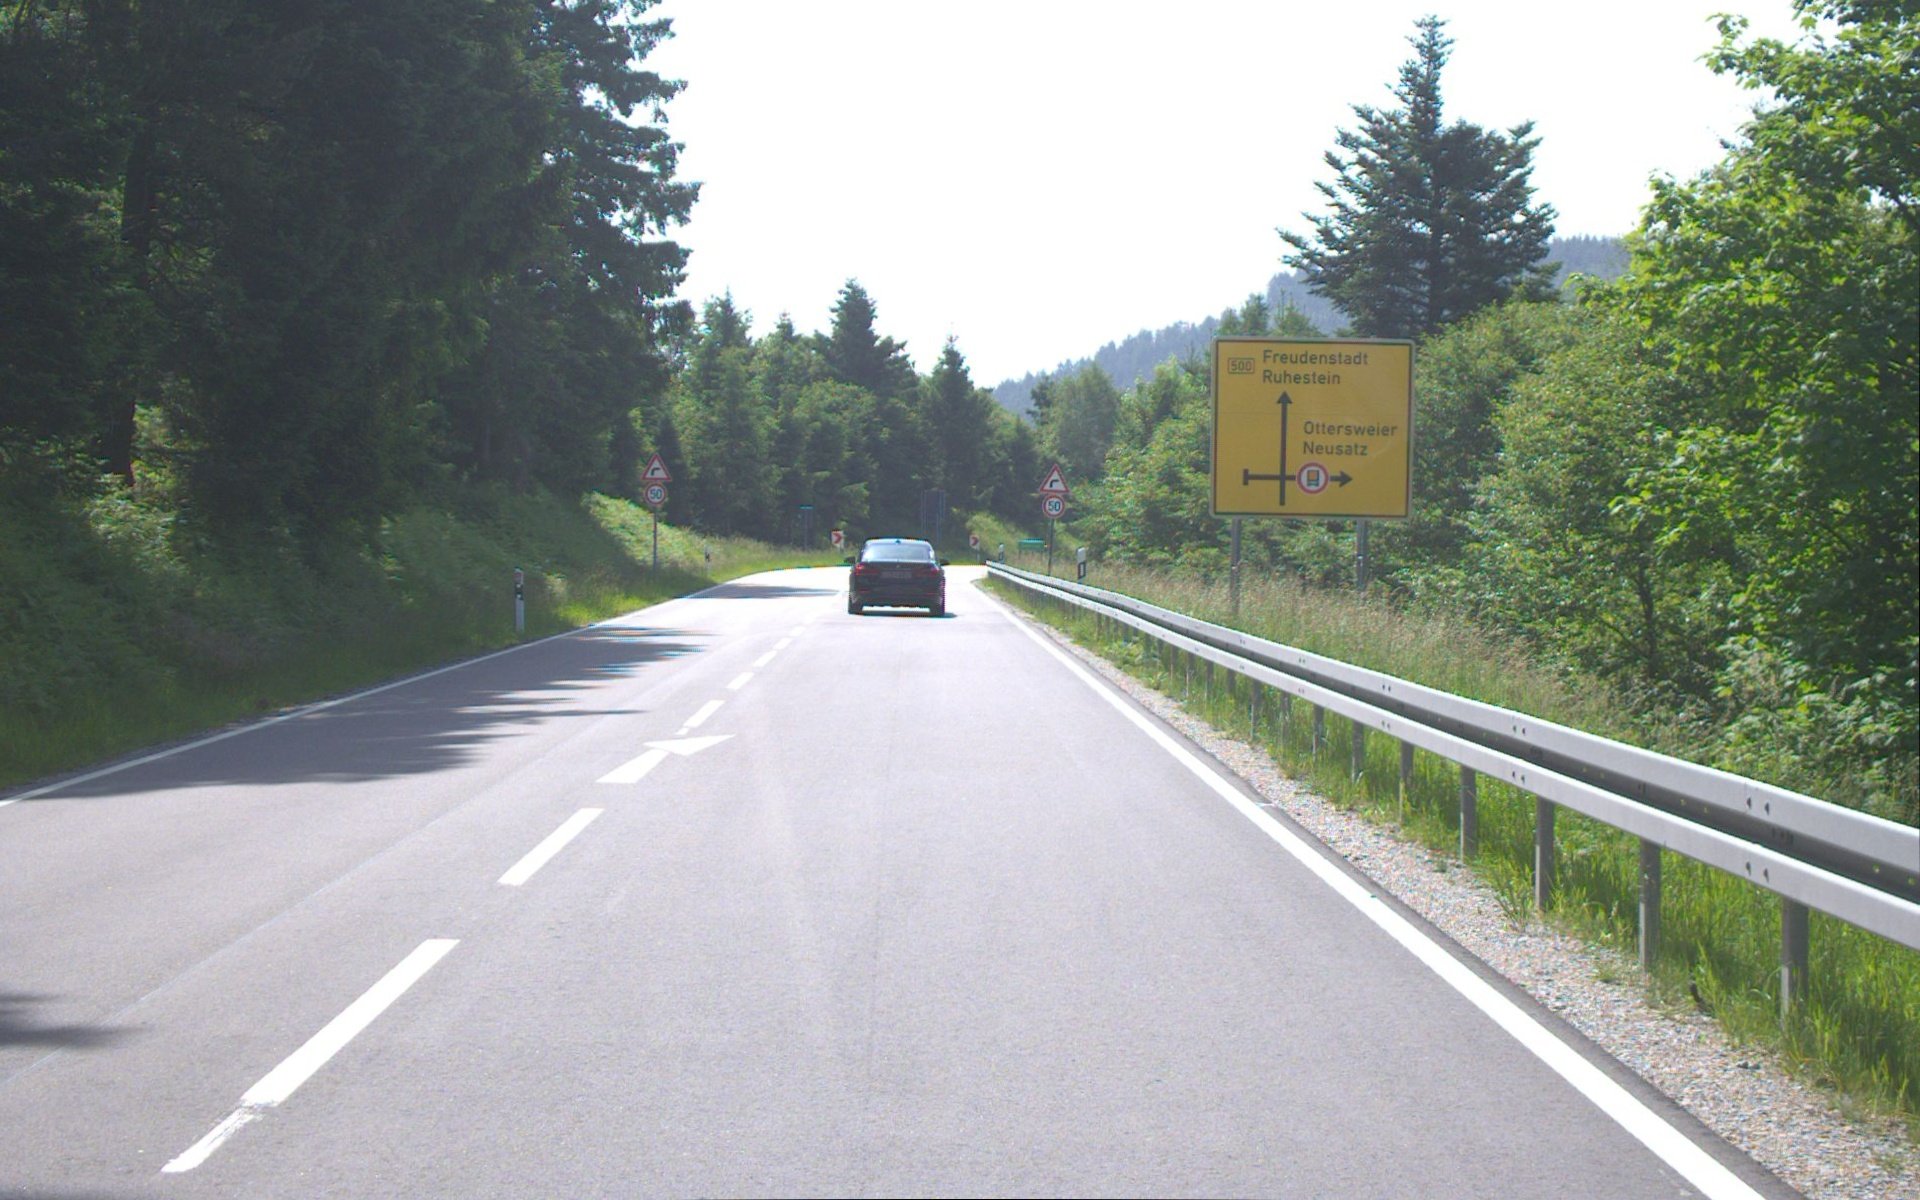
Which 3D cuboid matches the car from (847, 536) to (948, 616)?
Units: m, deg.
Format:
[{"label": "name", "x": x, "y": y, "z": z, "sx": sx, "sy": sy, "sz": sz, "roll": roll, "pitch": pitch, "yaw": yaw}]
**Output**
[{"label": "car", "x": -1.153, "y": -0.472, "z": 64.793, "sx": 1.776, "sy": 1.437, "sz": 3.709, "roll": 1, "pitch": 1, "yaw": 1}]
